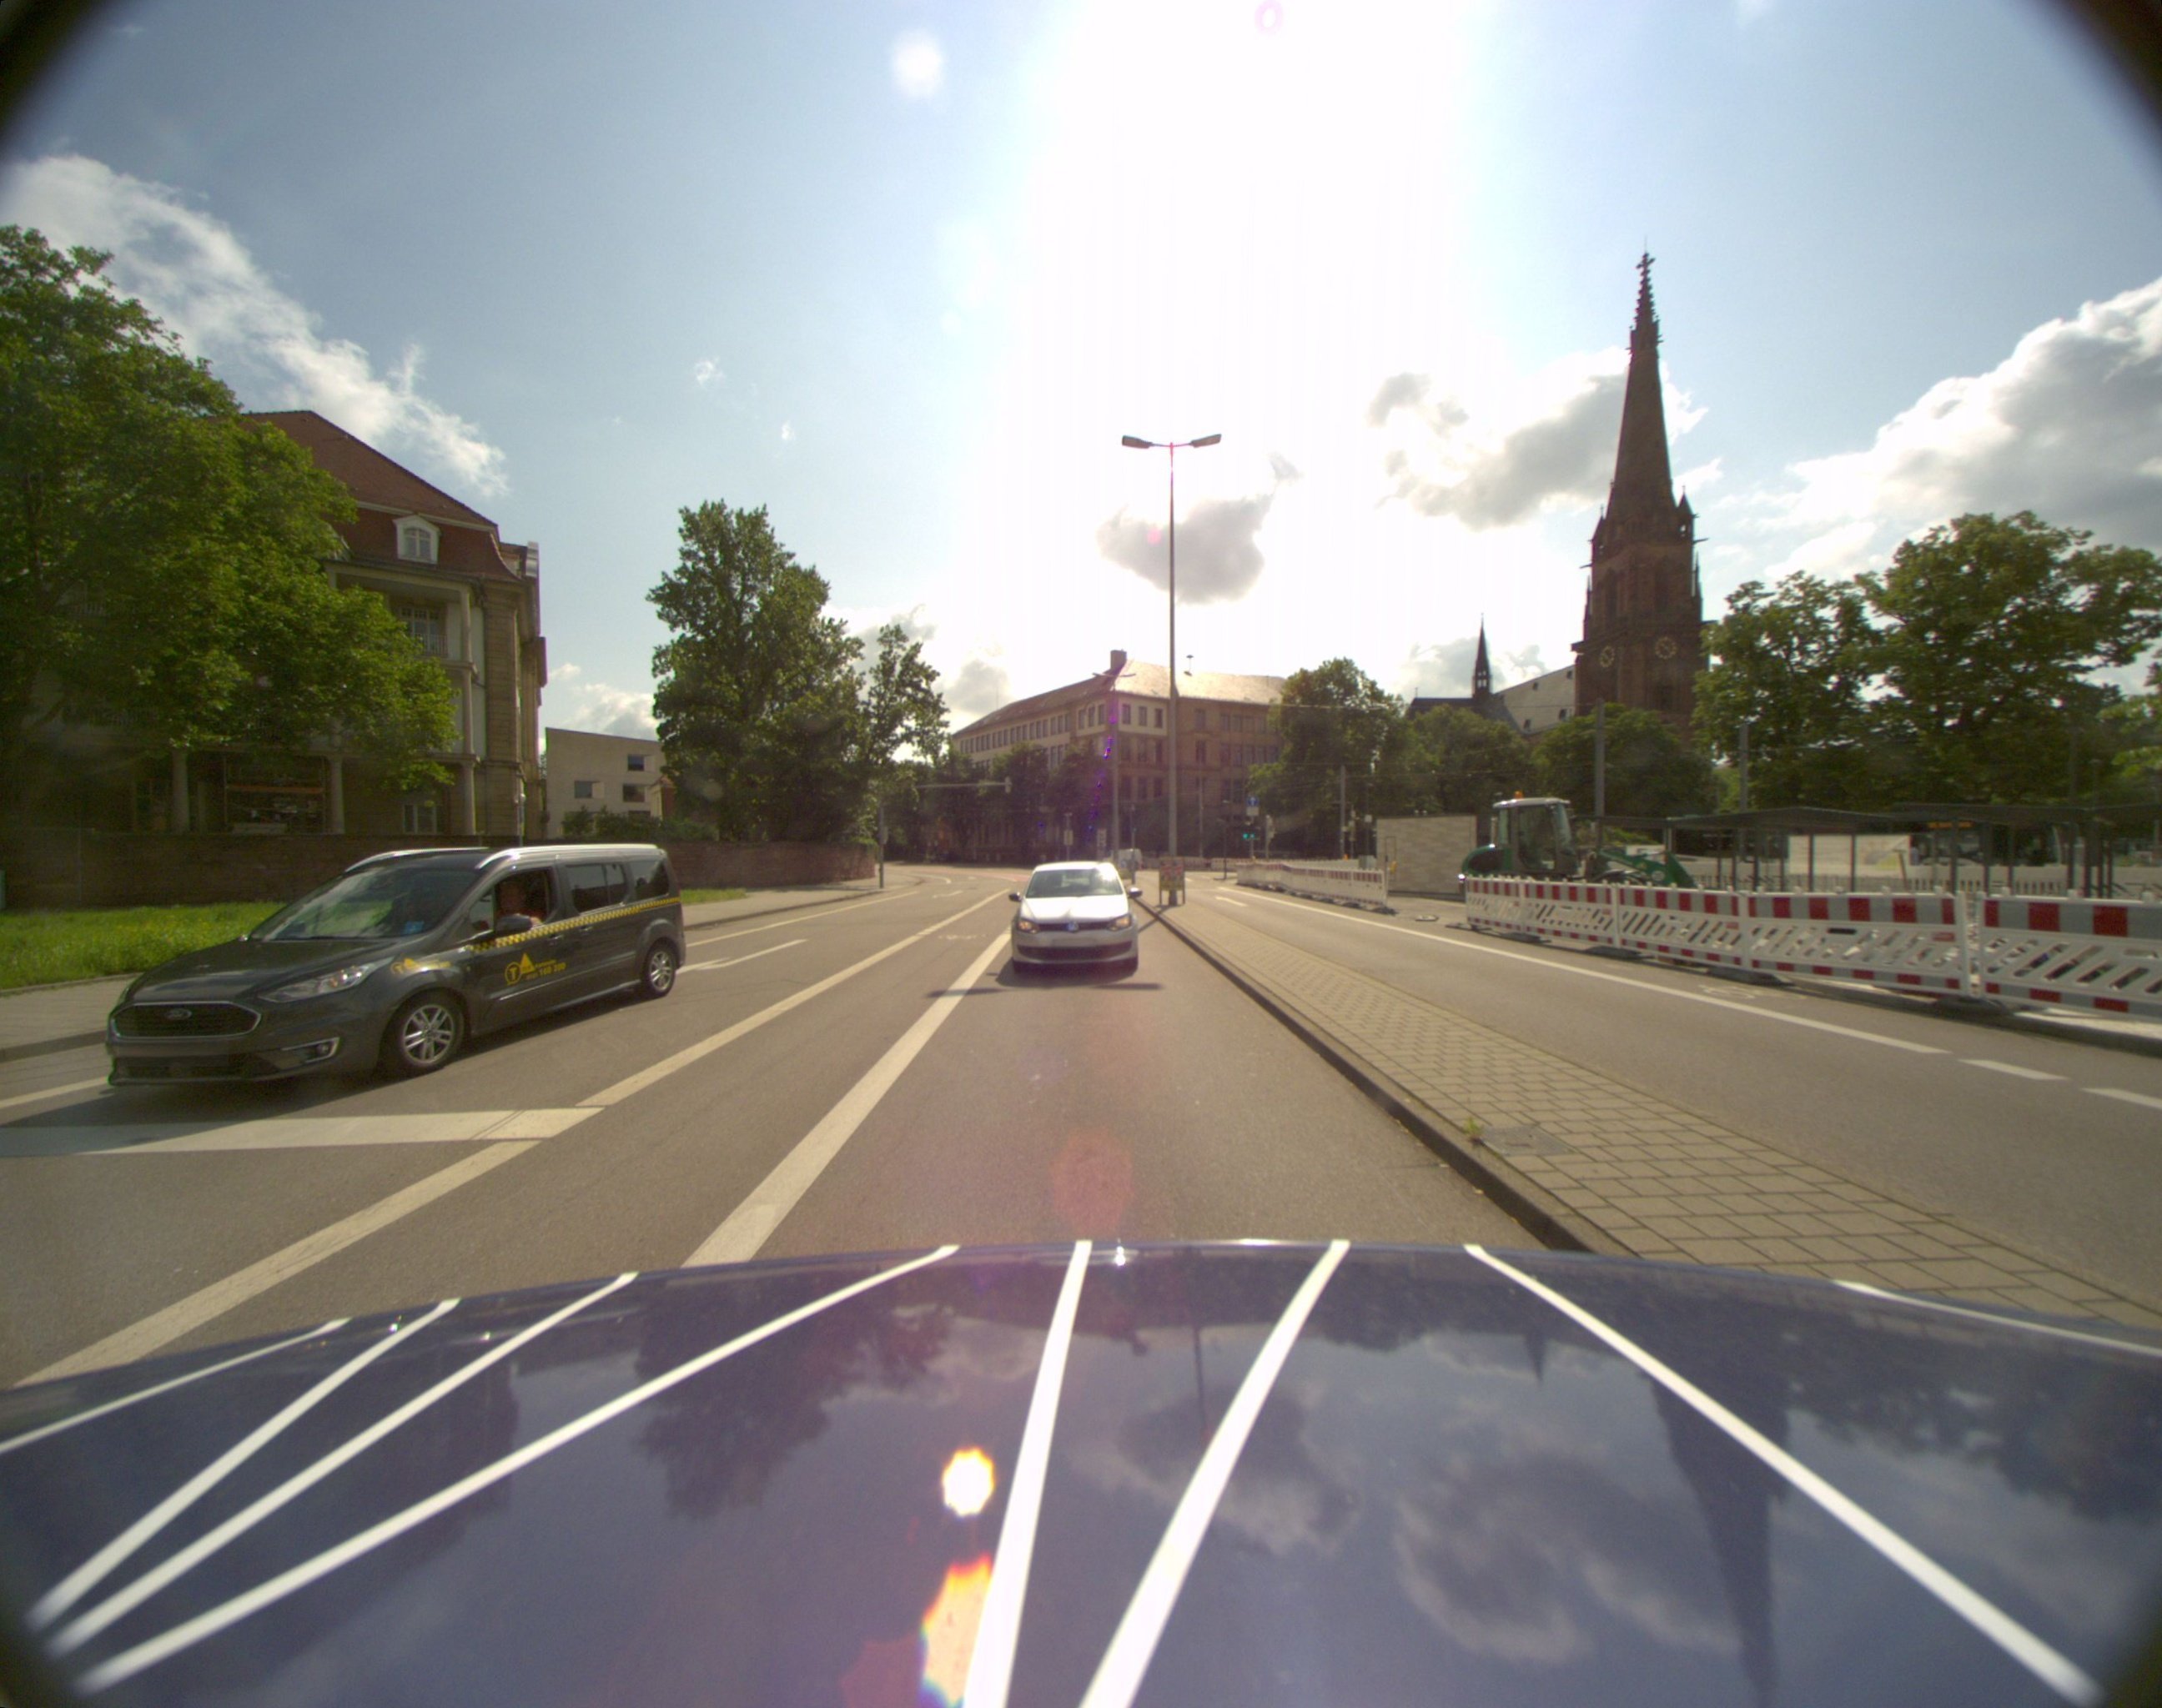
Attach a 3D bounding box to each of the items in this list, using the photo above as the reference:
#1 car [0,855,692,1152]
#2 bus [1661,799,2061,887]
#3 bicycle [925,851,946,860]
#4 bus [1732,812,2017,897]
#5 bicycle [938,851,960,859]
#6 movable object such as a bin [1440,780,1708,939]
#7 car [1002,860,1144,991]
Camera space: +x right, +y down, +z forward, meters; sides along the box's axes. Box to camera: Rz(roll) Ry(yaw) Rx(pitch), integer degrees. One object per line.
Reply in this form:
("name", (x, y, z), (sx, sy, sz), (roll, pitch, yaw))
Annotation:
("car", (-5.835, 0.942, 7.069), (1.853, 1.775, 4.671), (-1, 1, 2))
("bus", (33.591, -0.460, 33.778), (2.999, 3.244, 12.042), (-1, 1, -35))
("bicycle", (-21.074, 0.191, 110.130), (2.891, 1.200, 1.073), (0, 4, 7))
("bus", (31.906, -0.026, 31.010), (2.378, 3.040, 7.742), (-1, 1, -35))
("bicycle", (-18.729, 0.135, 107.956), (2.891, 1.200, 1.050), (0, 4, 7))
("movable object such as a bin", (10.414, 0.076, 16.313), (2.004, 2.932, 4.437), (-1, 1, -43))
("car", (-0.115, 0.883, 11.160), (1.655, 1.433, 4.004), (-2, 1, -1))
